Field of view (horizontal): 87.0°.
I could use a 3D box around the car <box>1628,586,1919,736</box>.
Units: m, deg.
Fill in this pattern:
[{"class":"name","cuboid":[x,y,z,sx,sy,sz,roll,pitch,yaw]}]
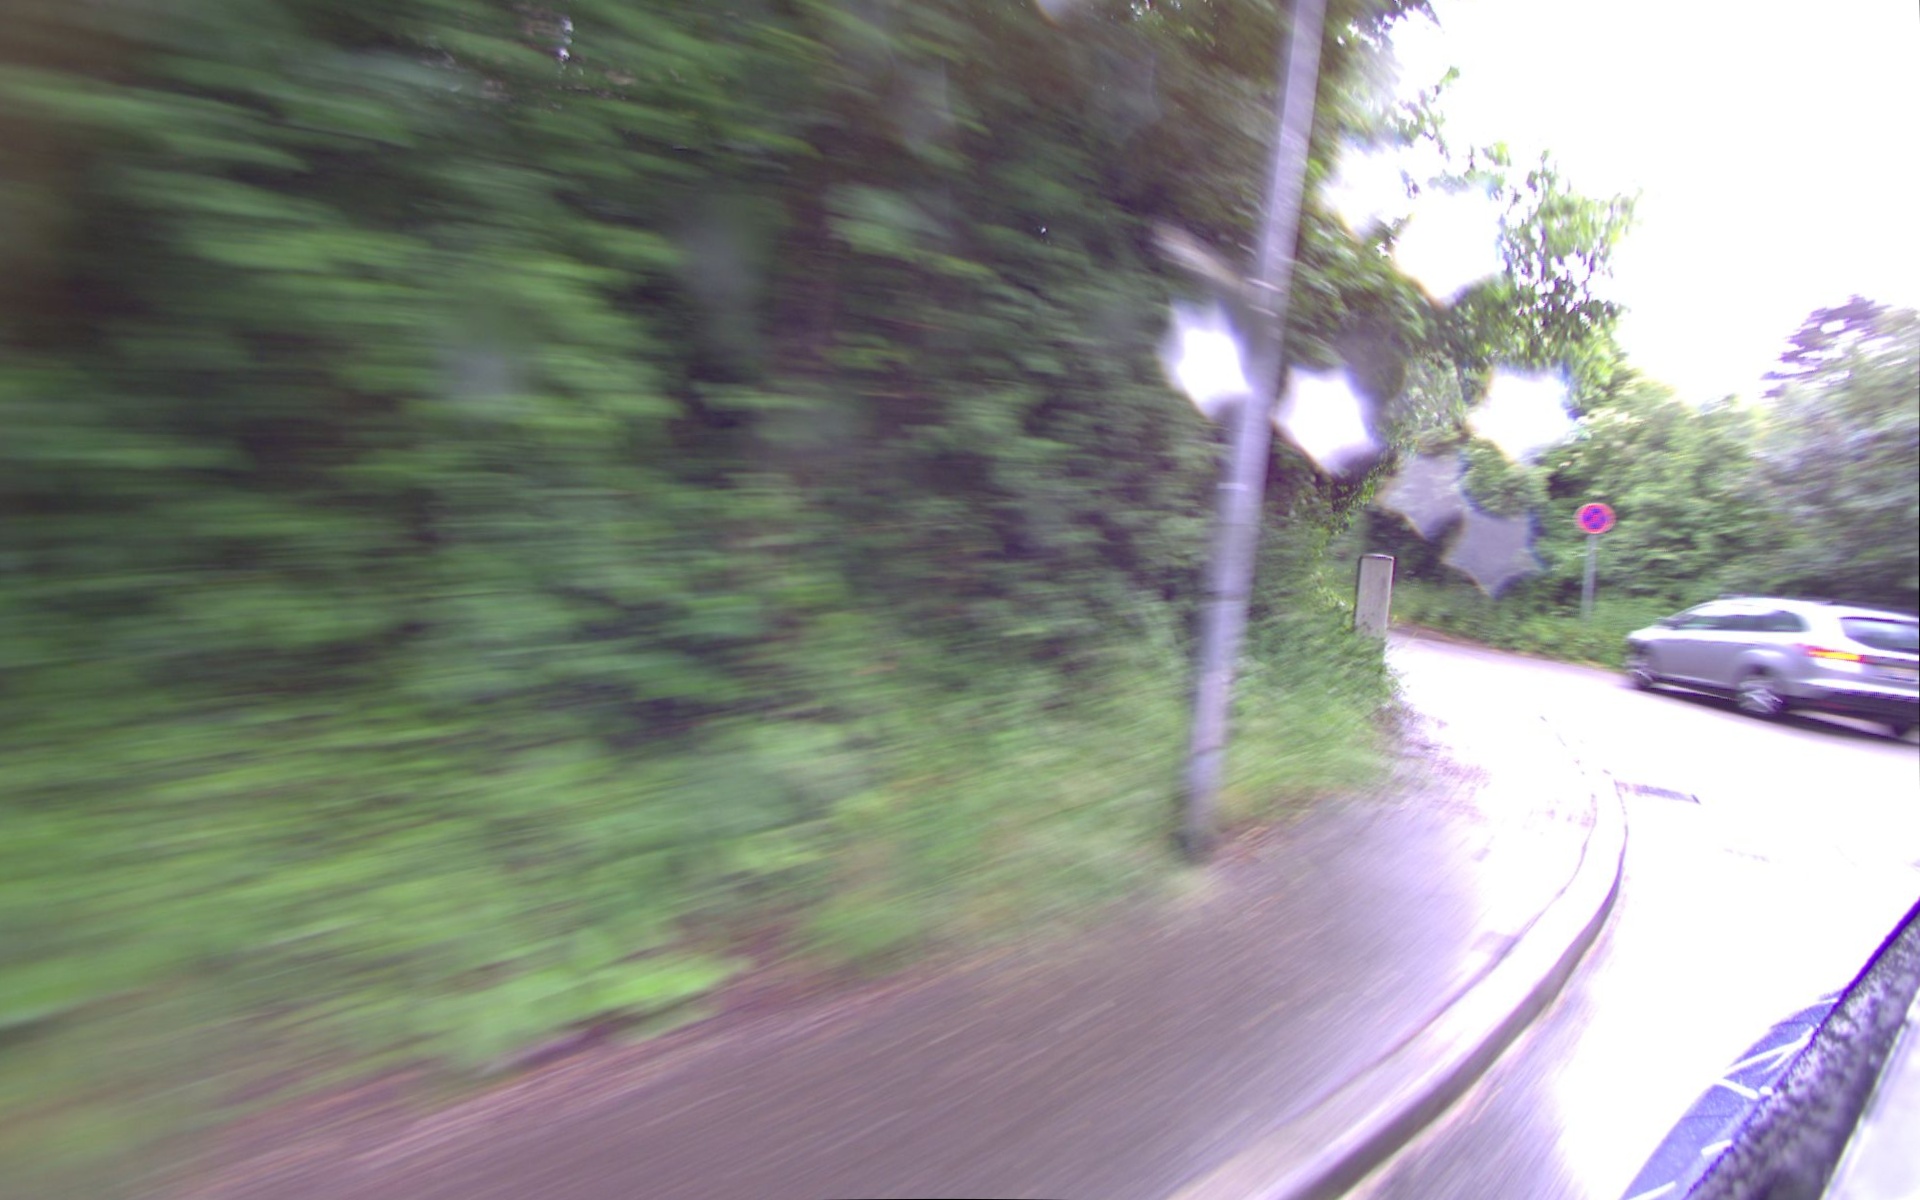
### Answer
[{"class":"car","cuboid":[10.595,0.641,13.023,1.649,1.556,4.113,1,1,8]}]
